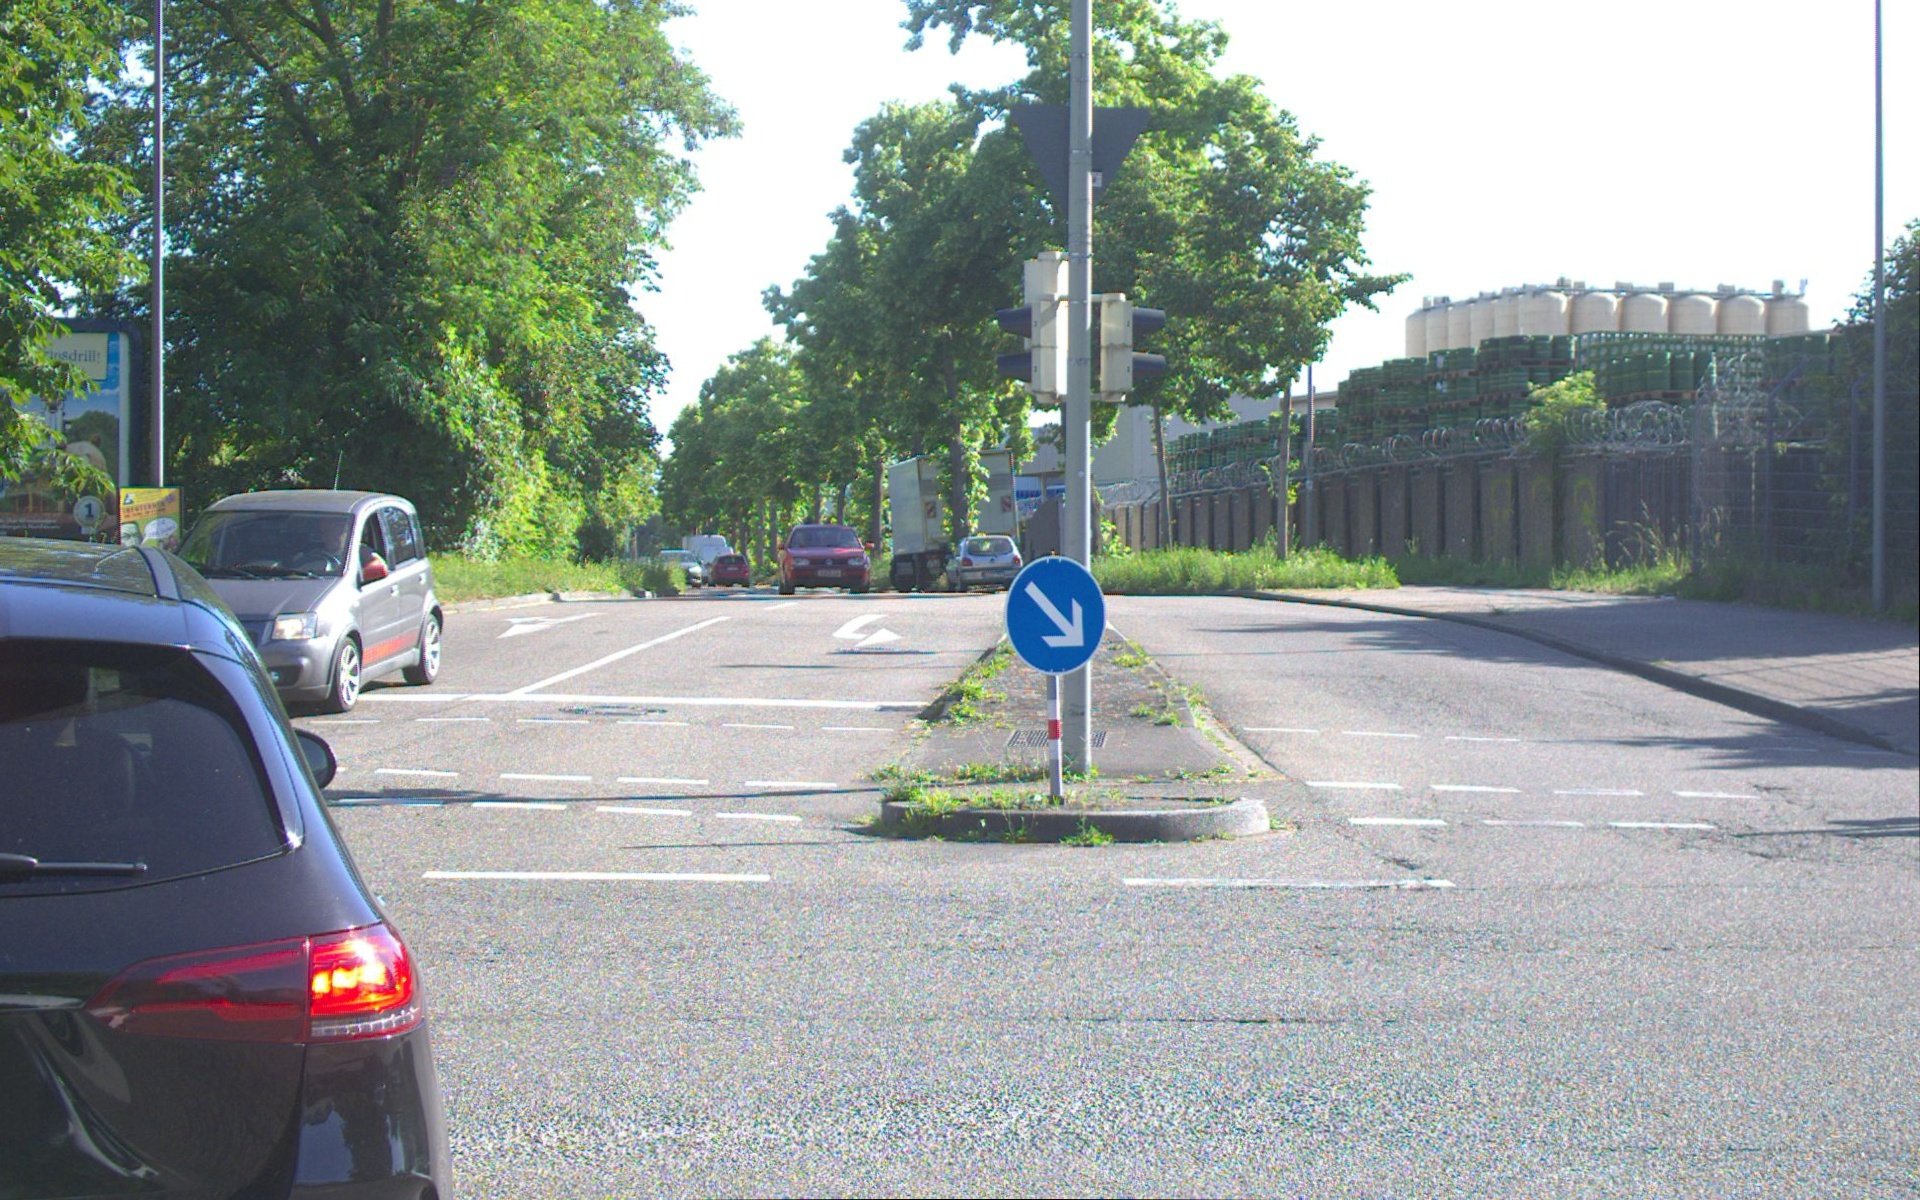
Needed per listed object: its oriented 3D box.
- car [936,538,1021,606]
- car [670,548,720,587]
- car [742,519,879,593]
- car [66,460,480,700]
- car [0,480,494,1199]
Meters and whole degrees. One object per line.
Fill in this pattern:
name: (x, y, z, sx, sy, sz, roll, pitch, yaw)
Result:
car: (0.435, -0.694, 84.358, 1.688, 1.626, 3.131, 0, 1, -8)
car: (-10.058, -1.243, 130.365, 1.857, 1.464, 4.139, 0, 1, -5)
car: (-3.062, -0.901, 69.782, 1.857, 1.464, 4.140, 0, 1, -16)
car: (-4.989, -0.165, 25.535, 1.805, 1.634, 3.999, 0, 1, 8)
car: (-1.959, 0.610, 6.187, 1.769, 1.587, 3.990, 0, 1, -14)
